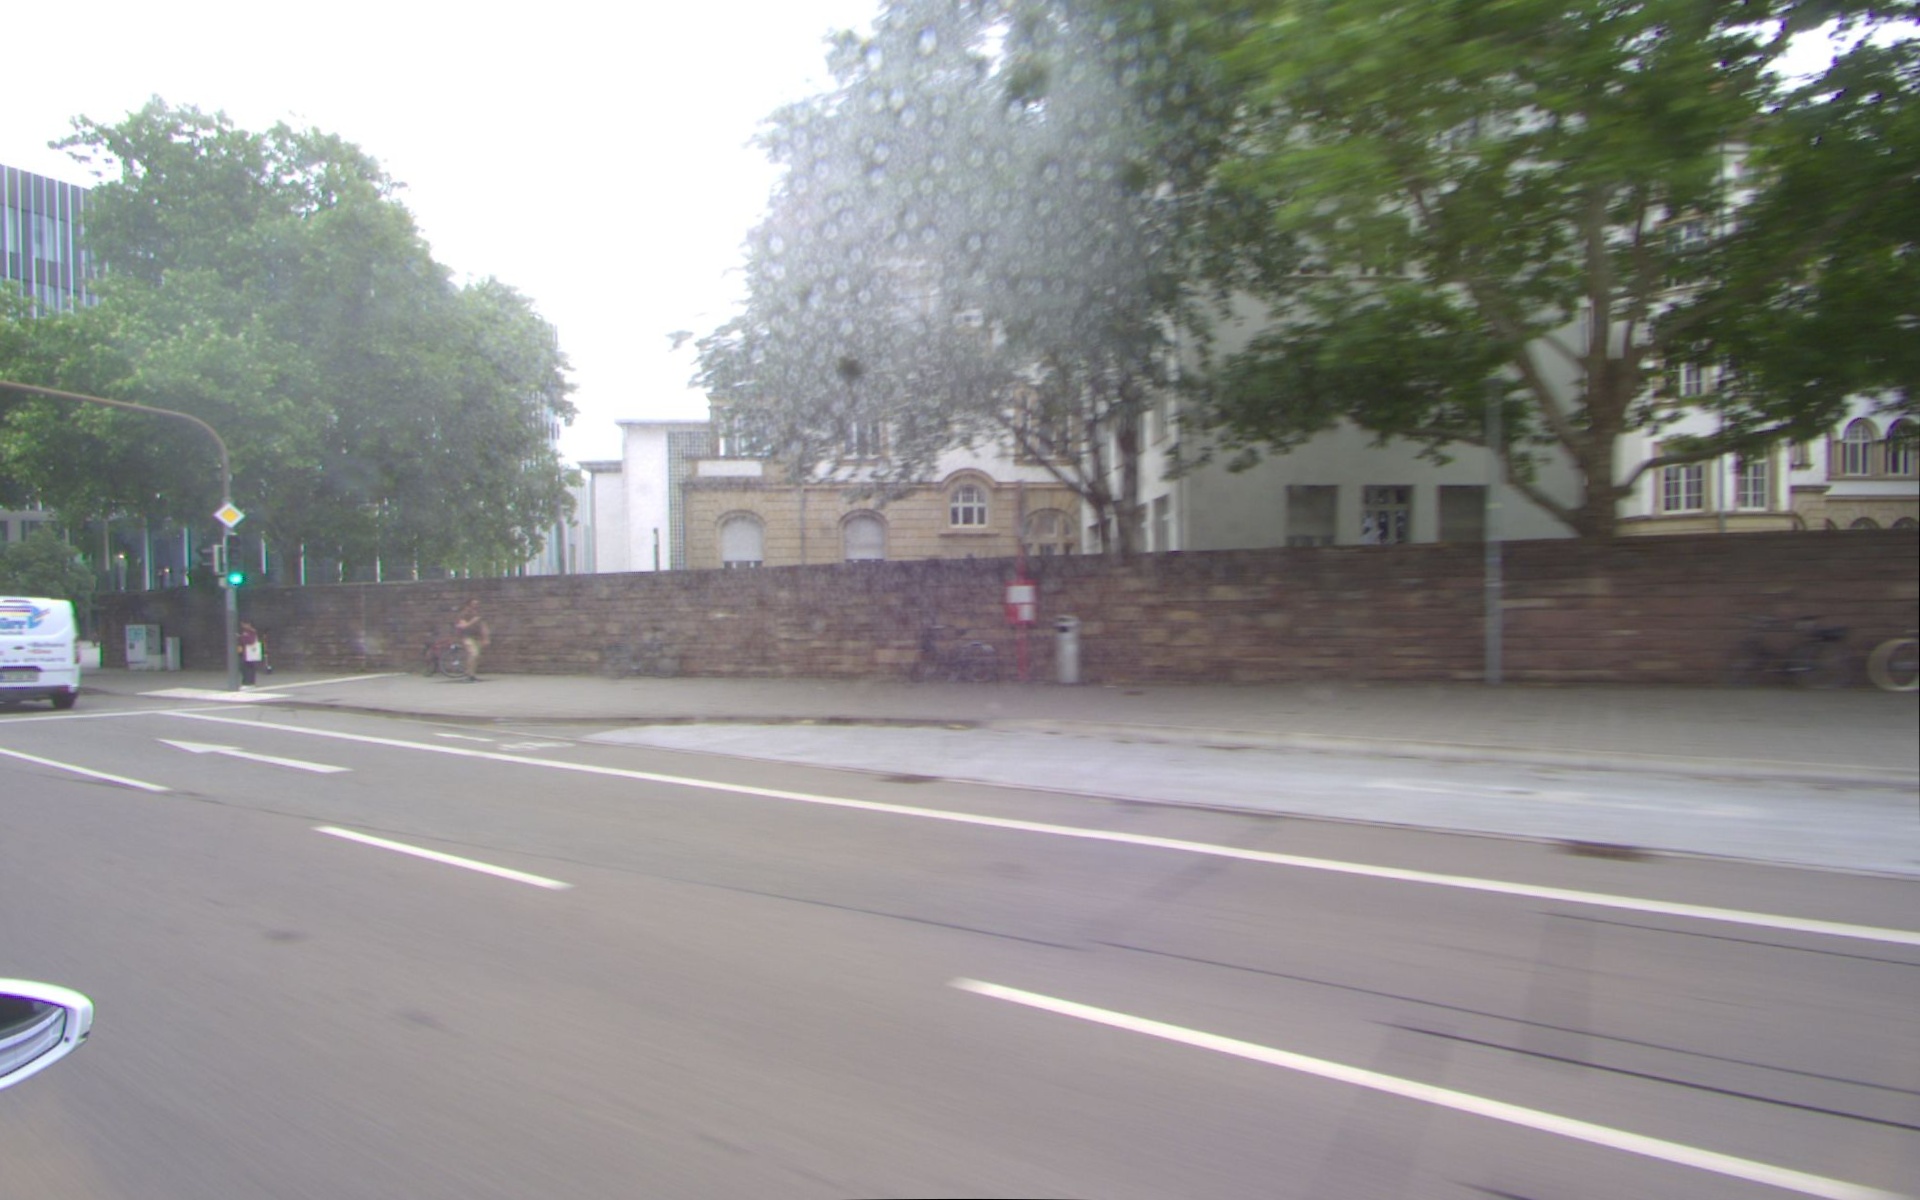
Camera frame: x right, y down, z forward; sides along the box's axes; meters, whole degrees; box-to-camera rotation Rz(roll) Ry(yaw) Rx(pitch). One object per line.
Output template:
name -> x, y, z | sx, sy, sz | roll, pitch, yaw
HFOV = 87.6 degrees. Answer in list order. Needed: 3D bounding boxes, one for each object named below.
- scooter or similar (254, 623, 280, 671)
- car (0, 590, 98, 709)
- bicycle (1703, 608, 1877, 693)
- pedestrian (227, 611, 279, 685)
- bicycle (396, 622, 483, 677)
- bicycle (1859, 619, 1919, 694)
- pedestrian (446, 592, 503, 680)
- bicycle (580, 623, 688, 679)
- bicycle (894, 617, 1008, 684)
scooter or similar -> -18.411, 1.224, 26.627 | 0.427, 1.195, 1.693 | -3, 2, -32
car -> -17.797, 0.870, 18.272 | 4.282, 1.997, 1.963 | -1, -2, 33
bicycle -> 11.444, 0.690, 13.854 | 1.757, 1.115, 0.720 | -1, 2, 4
pedestrian -> -16.010, 1.073, 22.681 | 0.627, 1.584, 0.658 | 0, 5, 33
bicycle -> -12.090, 1.122, 23.243 | 1.924, 1.190, 0.801 | 0, 3, 29
bicycle -> 13.230, 0.740, 13.338 | 1.738, 0.964, 0.654 | -1, 2, 16
pedestrian -> -10.443, 0.758, 21.540 | 1.018, 1.846, 0.629 | 0, 2, 33
bicycle -> -6.822, 1.062, 20.968 | 1.935, 1.088, 0.940 | -1, 2, 19
bicycle -> -0.160, 0.908, 18.216 | 1.889, 1.142, 0.849 | -1, 2, 19
